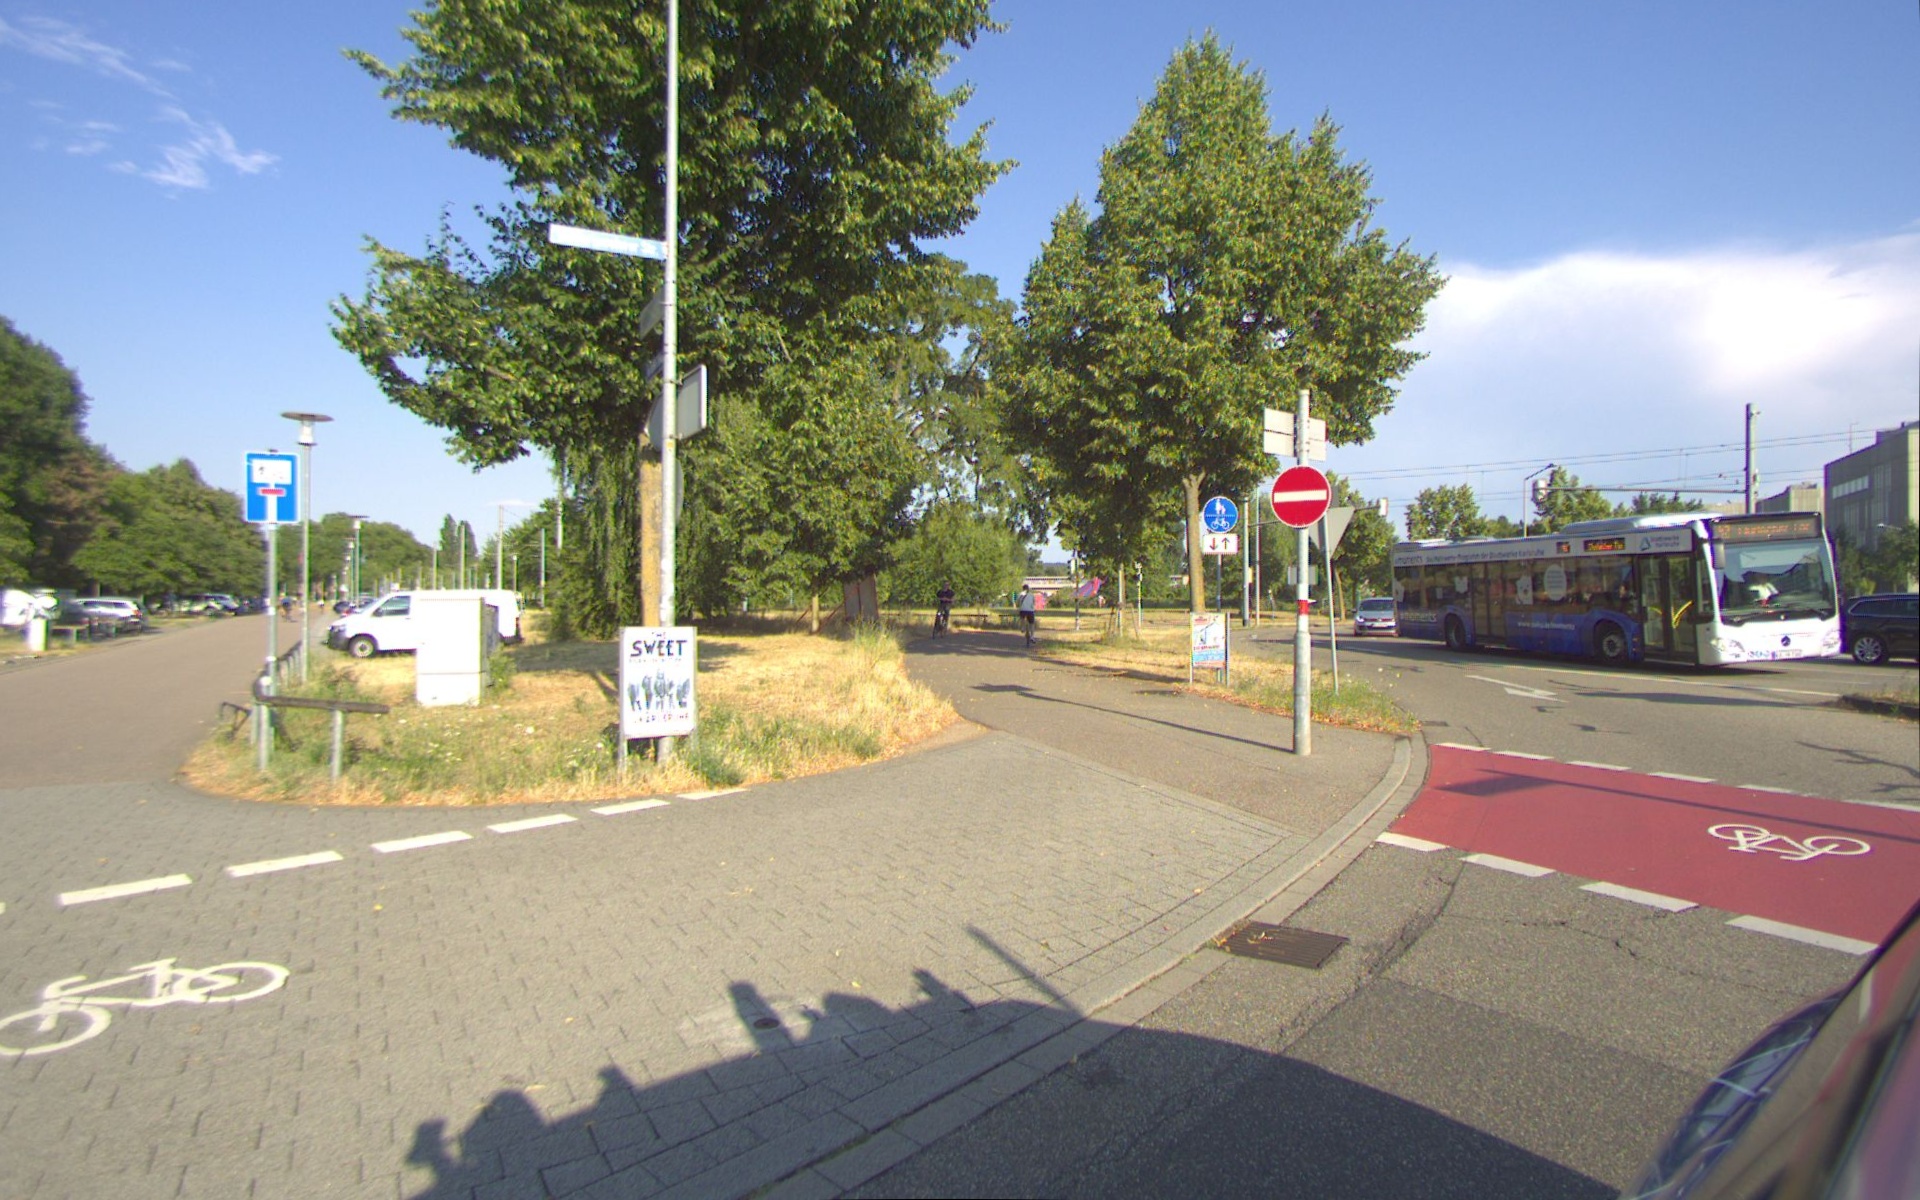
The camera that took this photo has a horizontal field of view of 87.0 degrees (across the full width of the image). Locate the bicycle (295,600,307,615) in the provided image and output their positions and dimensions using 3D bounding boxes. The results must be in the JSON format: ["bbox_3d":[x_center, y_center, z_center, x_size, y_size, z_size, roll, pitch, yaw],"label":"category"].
[{"bbox_3d":[-49.696,0.538,76.302,0.610,1.089,2.405,0,0,-36],"label":"bicycle"}]

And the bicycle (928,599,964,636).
[{"bbox_3d":[-0.425,0.546,32.896,0.631,1.137,2.115,-1,0,15],"label":"bicycle"}]

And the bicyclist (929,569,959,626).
[{"bbox_3d":[-0.515,-0.080,32.720,0.718,1.823,0.934,-1,0,15],"label":"bicyclist"}]

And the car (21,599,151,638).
[{"bbox_3d":[-36.856,0.737,42.815,3.923,1.549,2.001,0,0,-33],"label":"car"}]

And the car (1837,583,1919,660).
[{"bbox_3d":[19.284,0.393,18.698,1.773,1.455,4.395,-1,0,-14],"label":"car"}]

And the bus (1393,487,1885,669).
[{"bbox_3d":[14.256,-0.402,23.439,2.614,3.100,12.185,0,0,-3],"label":"bus"}]

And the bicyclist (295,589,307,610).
[{"bbox_3d":[-49.577,-0.031,76.114,0.736,1.544,0.893,0,0,-36],"label":"bicyclist"}]

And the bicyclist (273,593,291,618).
[{"bbox_3d":[-44.154,0.349,65.930,0.811,1.613,0.932,0,0,-44],"label":"bicyclist"}]

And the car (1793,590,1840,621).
[{"bbox_3d":[48.432,0.291,57.209,1.992,1.661,3.940,0,0,41],"label":"car"}]

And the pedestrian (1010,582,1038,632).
[{"bbox_3d":[1.839,0.202,29.078,0.644,1.409,0.763,1,1,17],"label":"pedestrian"}]

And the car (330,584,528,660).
[{"bbox_3d":[-16.022,0.581,30.628,5.117,2.039,2.271,-2,1,-32],"label":"car"}]

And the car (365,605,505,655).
[{"bbox_3d":[-17.098,0.937,32.973,3.922,1.461,1.872,-1,0,-32],"label":"car"}]

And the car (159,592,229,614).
[{"bbox_3d":[-56.053,0.225,74.156,3.923,1.549,2.001,0,0,-33],"label":"car"}]

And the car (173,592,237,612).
[{"bbox_3d":[-59.921,0.154,80.389,3.923,1.549,2.001,0,0,-33],"label":"car"}]

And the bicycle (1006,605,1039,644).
[{"bbox_3d":[1.807,0.689,28.927,0.527,1.069,1.903,0,0,16],"label":"bicycle"}]

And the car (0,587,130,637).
[{"bbox_3d":[-34.162,0.421,38.391,3.923,1.816,1.894,0,0,-33],"label":"car"}]

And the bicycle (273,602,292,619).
[{"bbox_3d":[-44.156,0.691,65.930,0.665,1.094,2.533,0,0,-43],"label":"bicycle"}]

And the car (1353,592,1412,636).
[{"bbox_3d":[15.949,0.486,38.157,1.978,1.543,3.967,0,0,24],"label":"car"}]

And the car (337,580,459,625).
[{"bbox_3d":[-26.671,0.083,48.090,4.959,2.039,2.271,-1,0,-32],"label":"car"}]
